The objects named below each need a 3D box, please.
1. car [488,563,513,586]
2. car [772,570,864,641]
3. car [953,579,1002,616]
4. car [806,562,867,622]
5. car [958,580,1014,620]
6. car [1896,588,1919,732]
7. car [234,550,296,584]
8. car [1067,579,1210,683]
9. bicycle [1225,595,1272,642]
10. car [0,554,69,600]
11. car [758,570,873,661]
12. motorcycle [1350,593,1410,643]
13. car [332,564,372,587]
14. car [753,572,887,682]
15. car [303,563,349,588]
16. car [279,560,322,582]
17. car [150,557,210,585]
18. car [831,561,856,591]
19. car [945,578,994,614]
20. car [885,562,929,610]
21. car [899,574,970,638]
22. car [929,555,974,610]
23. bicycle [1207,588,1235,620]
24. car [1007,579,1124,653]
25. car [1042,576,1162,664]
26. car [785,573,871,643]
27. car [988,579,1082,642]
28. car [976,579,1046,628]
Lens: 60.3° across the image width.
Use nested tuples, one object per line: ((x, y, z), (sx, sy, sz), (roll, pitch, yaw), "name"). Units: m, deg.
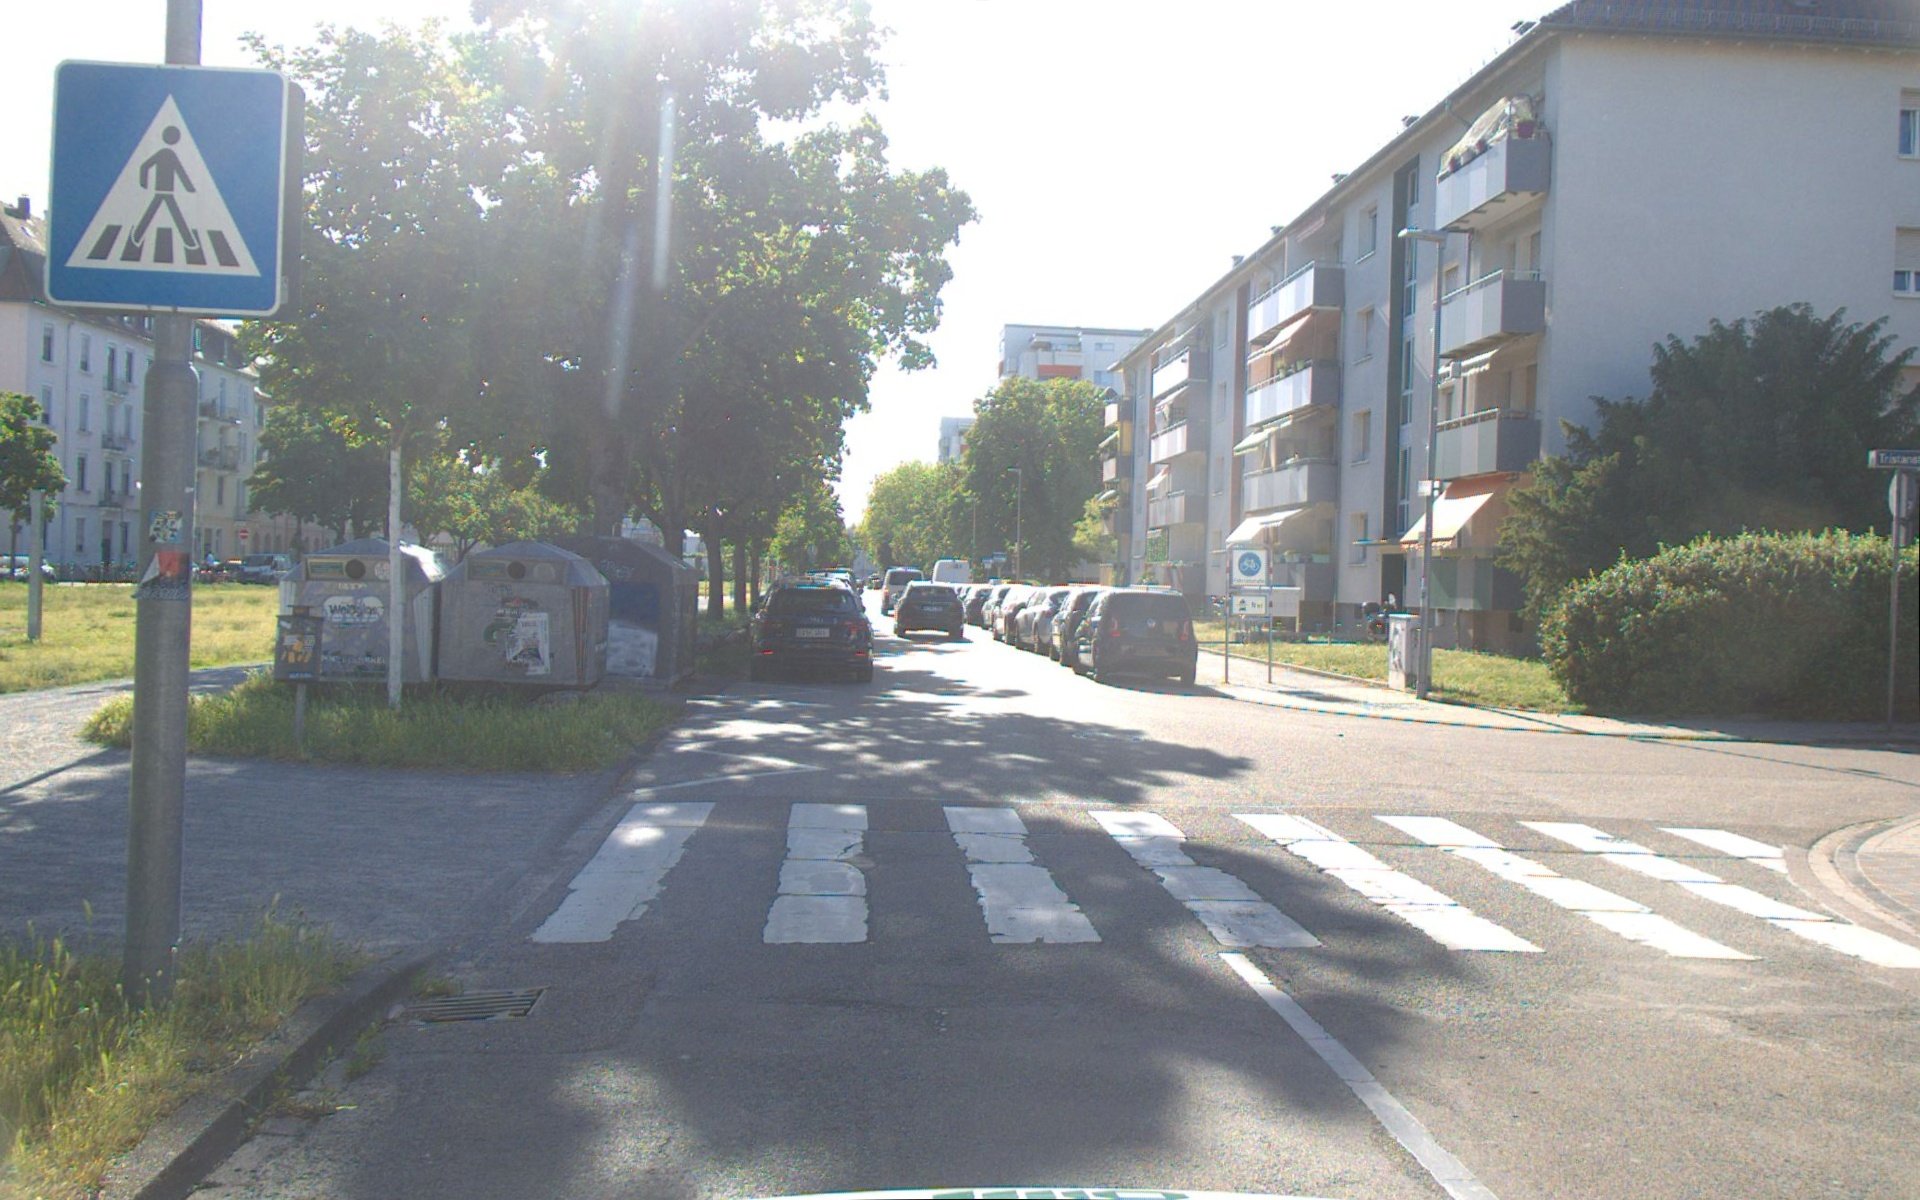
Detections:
((-46.572, -2.554, 167.688), (1.661, 2.252, 5.002), (2, 0, -6), "car")
((-3.031, 0.110, 35.974), (1.843, 1.443, 3.801), (1, 0, -3), "car")
((0.682, -0.124, 68.396), (1.687, 1.460, 4.150), (1, 1, -4), "car")
((-4.012, -0.248, 54.018), (1.827, 1.816, 4.987), (1, 0, -4), "car")
((0.955, -0.010, 62.975), (1.666, 1.460, 4.467), (0, 1, -5), "car")
((13.272, 0.762, 18.744), (4.322, 1.652, 1.912), (2, 1, -7), "car")
((-41.834, -1.969, 99.723), (2.042, 1.905, 5.092), (2, 1, -6), "car")
((2.844, 0.446, 27.113), (1.626, 1.499, 3.790), (3, 1, -4), "car")
((7.028, 0.433, 40.368), (0.705, 1.096, 1.896), (2, 1, -2), "bicycle")
((-39.498, -0.991, 69.302), (2.116, 1.852, 4.700), (2, 1, -6), "car")
((-2.763, 0.230, 30.918), (1.955, 1.542, 5.151), (0, 1, -6), "car")
((10.333, 0.438, 40.758), (0.572, 1.171, 2.031), (1, 0, -13), "motorcycle")
((-42.789, -1.705, 116.439), (1.661, 1.553, 4.076), (2, 1, -6), "car")
((-2.172, 0.347, 25.182), (1.800, 1.477, 4.962), (1, 1, -6), "car")
((-42.300, -1.619, 110.398), (1.661, 1.588, 4.692), (2, 1, -6), "car")
((-41.879, -1.854, 105.111), (1.661, 1.301, 3.521), (2, 1, -6), "car")
((-47.053, -1.763, 99.831), (1.956, 1.614, 4.445), (2, 1, -8), "car")
((-10.455, -2.163, 148.968), (2.056, 2.540, 4.124), (2, 1, -3), "car")
((0.397, -0.207, 73.762), (1.841, 1.501, 4.137), (1, 1, -4), "car")
((-2.302, -0.624, 71.298), (1.856, 2.026, 4.008), (0, 1, -3), "car")
((-0.735, 0.127, 44.732), (1.744, 1.557, 3.998), (3, 1, -3), "car")
((-0.484, -0.947, 86.372), (2.100, 2.760, 6.838), (0, 1, -3), "car")
((9.193, 0.137, 58.395), (0.513, 1.089, 2.008), (-1, 1, -5), "bicycle")
((2.358, 0.323, 38.133), (1.838, 1.560, 4.486), (2, 1, -7), "car")
((2.717, 0.334, 32.588), (1.734, 1.556, 4.555), (2, 1, -3), "car")
((-3.269, 0.167, 41.704), (1.985, 1.654, 4.755), (0, 1, -3), "car")
((1.905, 0.238, 43.496), (1.807, 1.498, 5.061), (2, 1, -5), "car")
((1.655, 0.073, 54.429), (1.714, 1.525, 3.855), (1, 1, -7), "car")
